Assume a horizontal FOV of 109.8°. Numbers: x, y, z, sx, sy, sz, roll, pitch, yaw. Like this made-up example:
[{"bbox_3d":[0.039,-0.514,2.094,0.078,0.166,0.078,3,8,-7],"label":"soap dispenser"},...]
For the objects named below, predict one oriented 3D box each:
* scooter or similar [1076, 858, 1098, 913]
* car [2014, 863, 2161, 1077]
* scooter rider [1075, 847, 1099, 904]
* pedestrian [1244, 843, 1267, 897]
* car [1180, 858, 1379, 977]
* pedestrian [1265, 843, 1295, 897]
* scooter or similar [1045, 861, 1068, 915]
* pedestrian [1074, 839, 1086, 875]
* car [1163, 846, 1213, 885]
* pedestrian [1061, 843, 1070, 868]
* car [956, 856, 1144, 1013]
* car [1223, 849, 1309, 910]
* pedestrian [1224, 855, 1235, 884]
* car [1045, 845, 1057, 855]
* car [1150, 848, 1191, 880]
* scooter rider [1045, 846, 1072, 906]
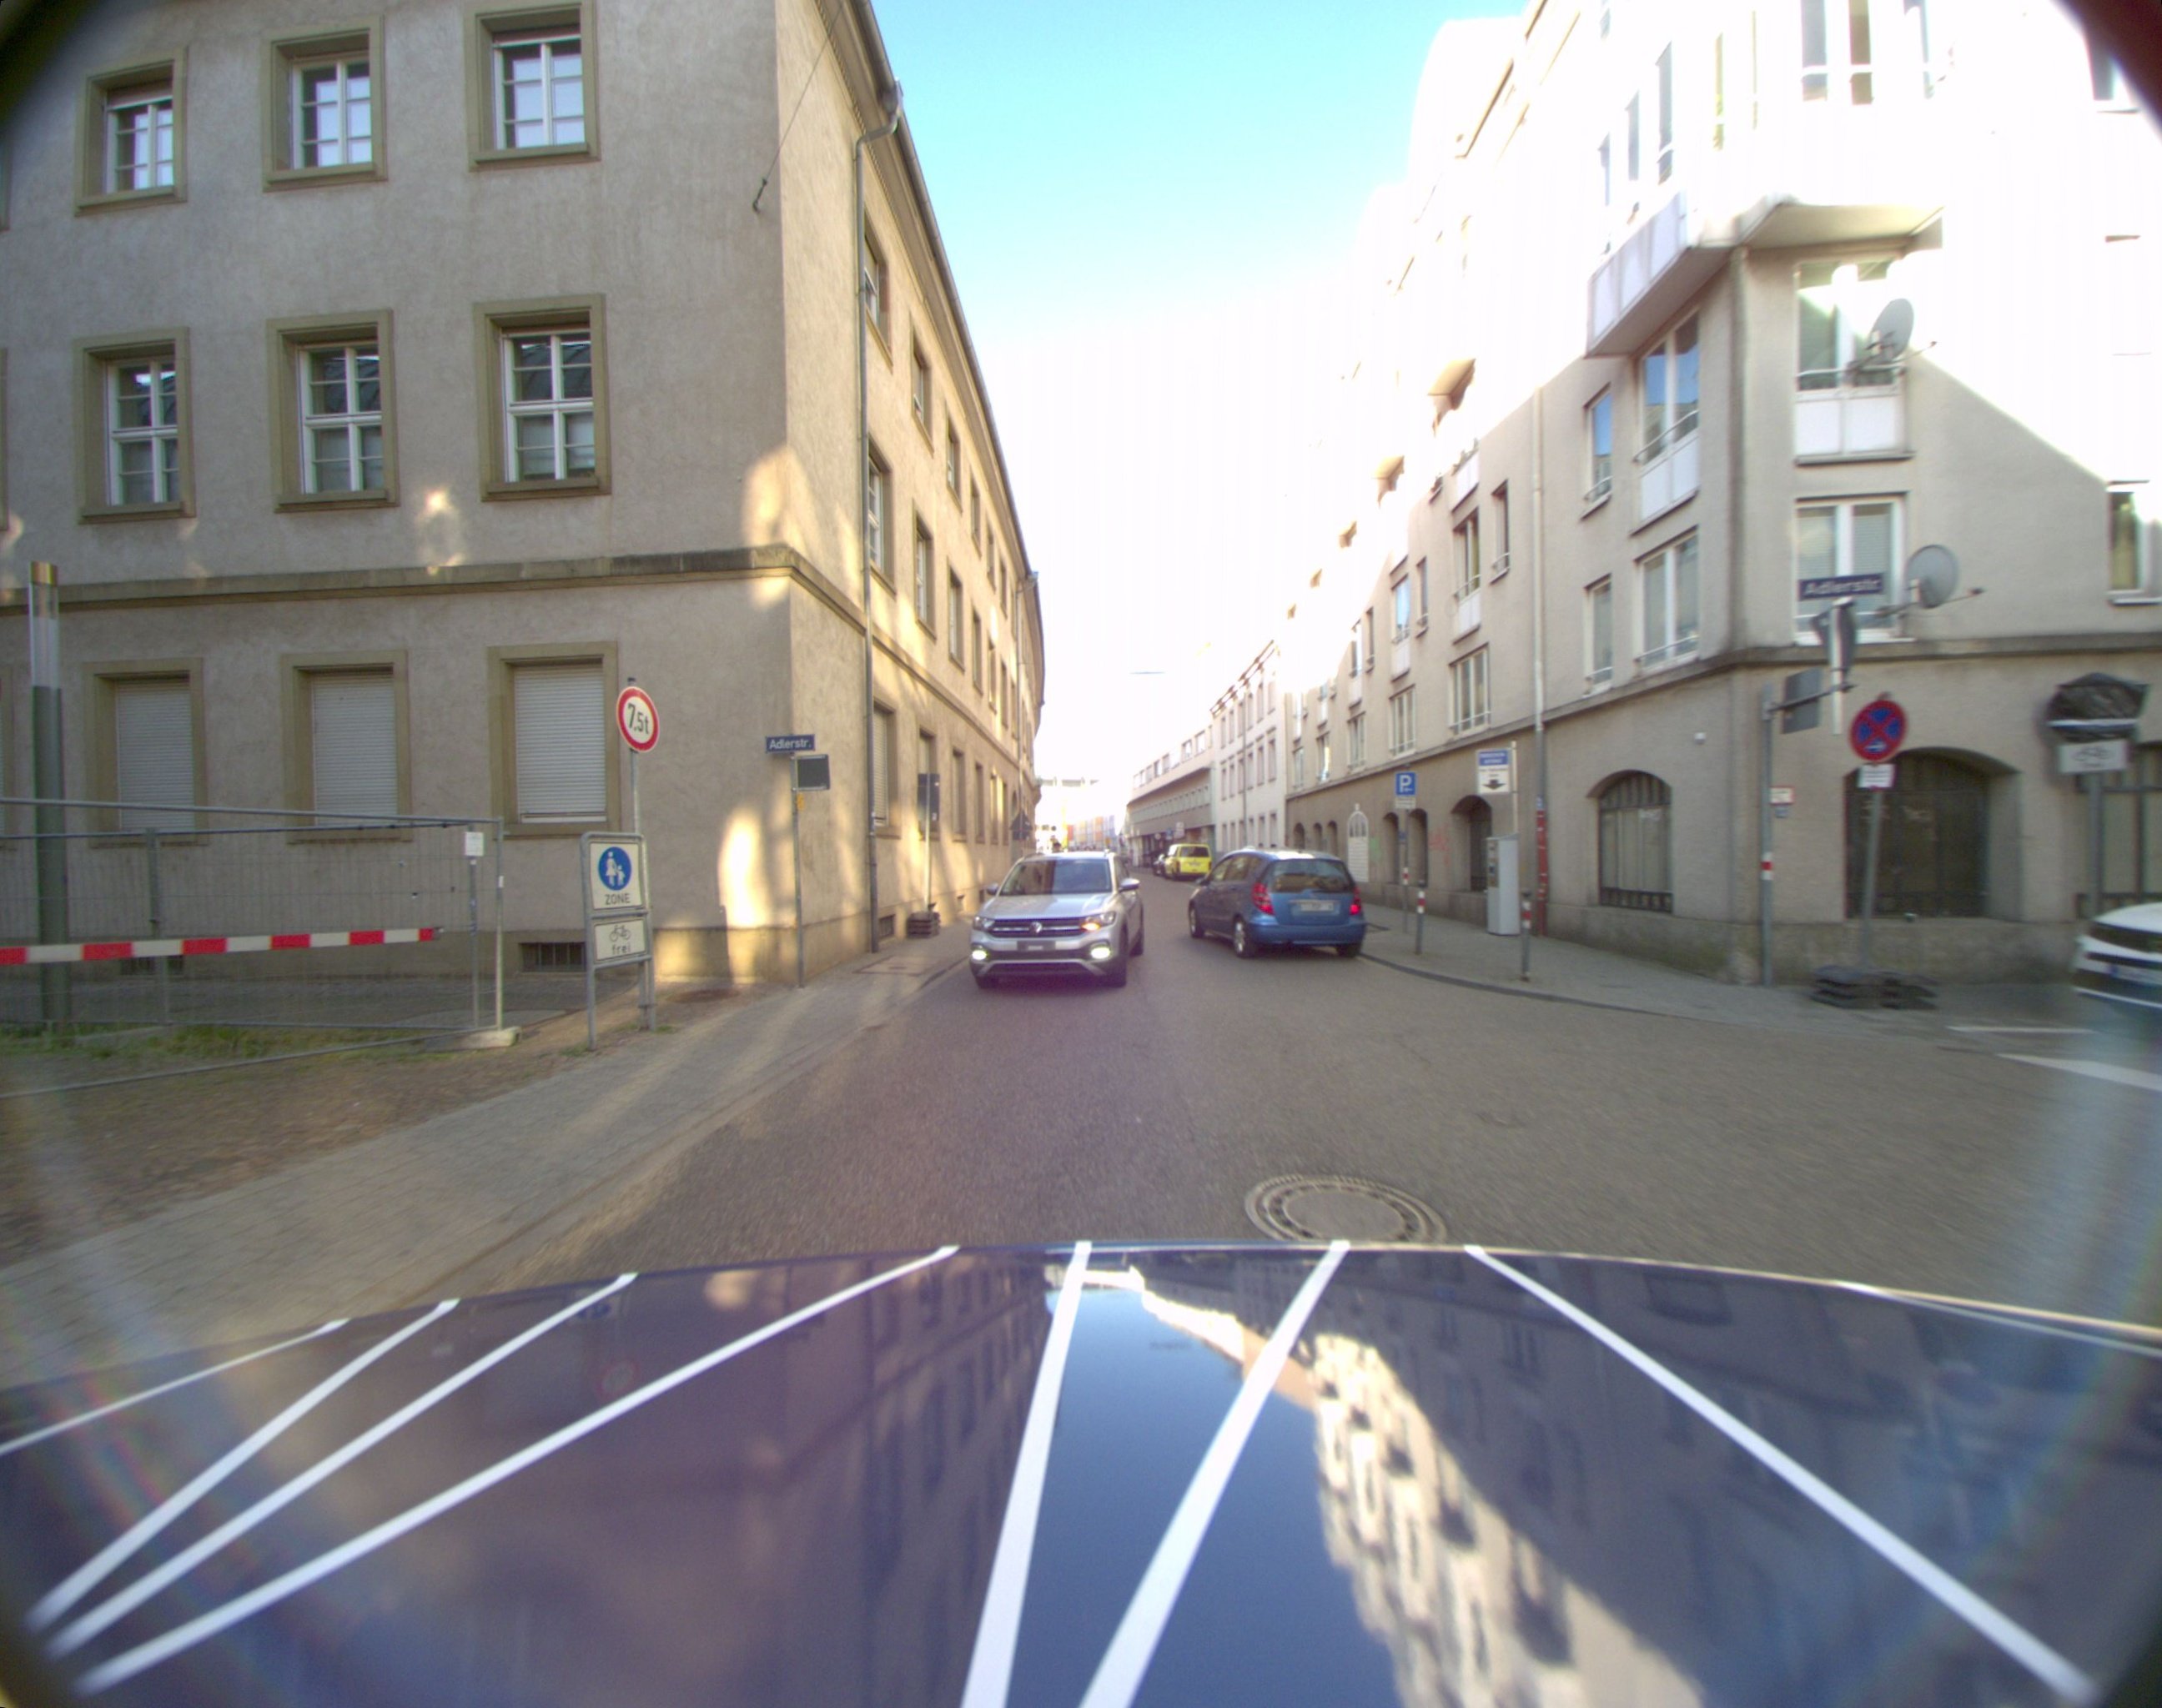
[{"bbox_3d":[0.175,0.830,20.491,0.550,1.388,1.555,0,1,2],"label":"scooter or similar"},{"bbox_3d":[10.171,0.904,5.601,3.963,1.584,1.744,0,2,9],"label":"car"},{"bbox_3d":[0.165,0.568,20.487,0.591,1.500,0.600,-2,2,2],"label":"scooter rider"},{"bbox_3d":[6.521,0.586,28.412,0.715,2.002,0.699,0,1,1],"label":"pedestrian"},{"bbox_3d":[2.931,0.880,12.116,1.856,1.583,3.804,1,-1,-6],"label":"car"},{"bbox_3d":[7.466,0.582,28.489,0.937,2.002,0.699,0,1,1],"label":"pedestrian"},{"bbox_3d":[-0.657,0.893,20.695,0.523,1.388,1.555,0,1,2],"label":"scooter or similar"},{"bbox_3d":[-0.057,0.159,43.175,0.715,2.002,0.699,0,1,1],"label":"pedestrian"},{"bbox_3d":[5.536,0.532,39.809,1.888,1.863,3.998,-2,1,-1],"label":"car"},{"bbox_3d":[-1.284,0.124,61.973,0.715,2.002,0.699,0,1,1],"label":"pedestrian"},{"bbox_3d":[-0.165,0.835,9.892,1.761,1.537,4.002,0,1,8],"label":"car"},{"bbox_3d":[5.586,0.708,23.434,1.887,1.695,4.000,0,1,3],"label":"car"},{"bbox_3d":[7.439,0.770,38.063,0.556,1.439,0.583,0,1,12],"label":"pedestrian"},{"bbox_3d":[-5.602,-0.756,141.641,1.889,1.863,3.997,2,1,-5],"label":"car"},{"bbox_3d":[5.395,0.552,46.241,1.888,1.758,3.998,2,1,-2],"label":"car"},{"bbox_3d":[-0.613,0.597,20.792,0.647,1.585,0.600,-2,2,2],"label":"scooter rider"}]
